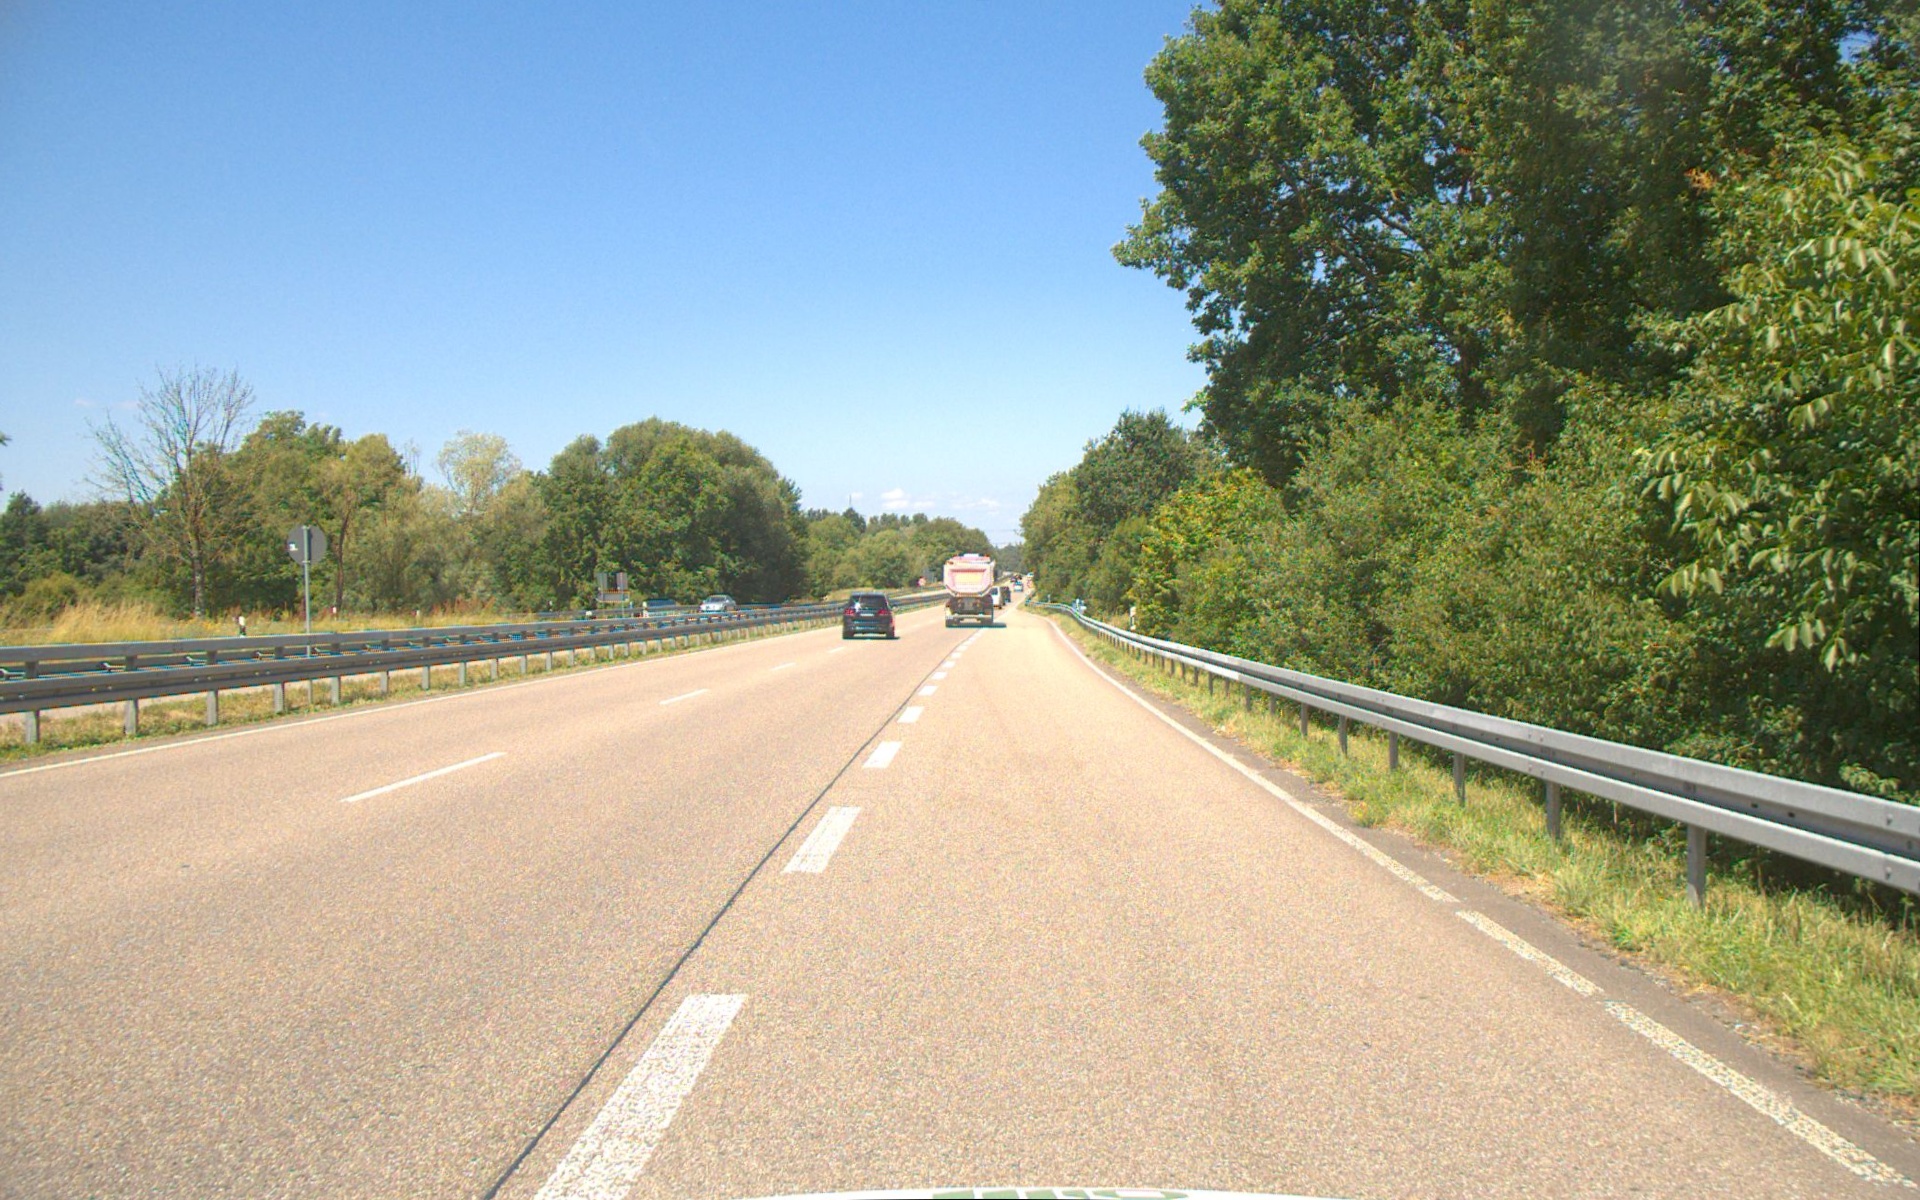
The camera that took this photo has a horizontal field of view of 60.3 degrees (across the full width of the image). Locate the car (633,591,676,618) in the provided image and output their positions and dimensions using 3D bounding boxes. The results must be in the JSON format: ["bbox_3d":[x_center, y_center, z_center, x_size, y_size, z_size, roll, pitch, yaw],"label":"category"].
[{"bbox_3d":[-17.109,0.278,92.803,1.880,1.515,3.997,0,-1,-3],"label":"car"}]

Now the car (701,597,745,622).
[{"bbox_3d":[-16.653,0.632,116.444,1.687,1.673,4.947,0,0,10],"label":"car"}]

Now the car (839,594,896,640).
[{"bbox_3d":[-3.496,0.653,63.302,1.819,1.700,4.001,0,-1,2],"label":"car"}]

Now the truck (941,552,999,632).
[{"bbox_3d":[0.645,-0.508,88.875,2.663,3.998,12.375,0,1,2],"label":"truck"}]

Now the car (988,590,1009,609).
[{"bbox_3d":[3.406,-0.044,146.654,1.819,1.700,4.001,0,-1,2],"label":"car"}]
